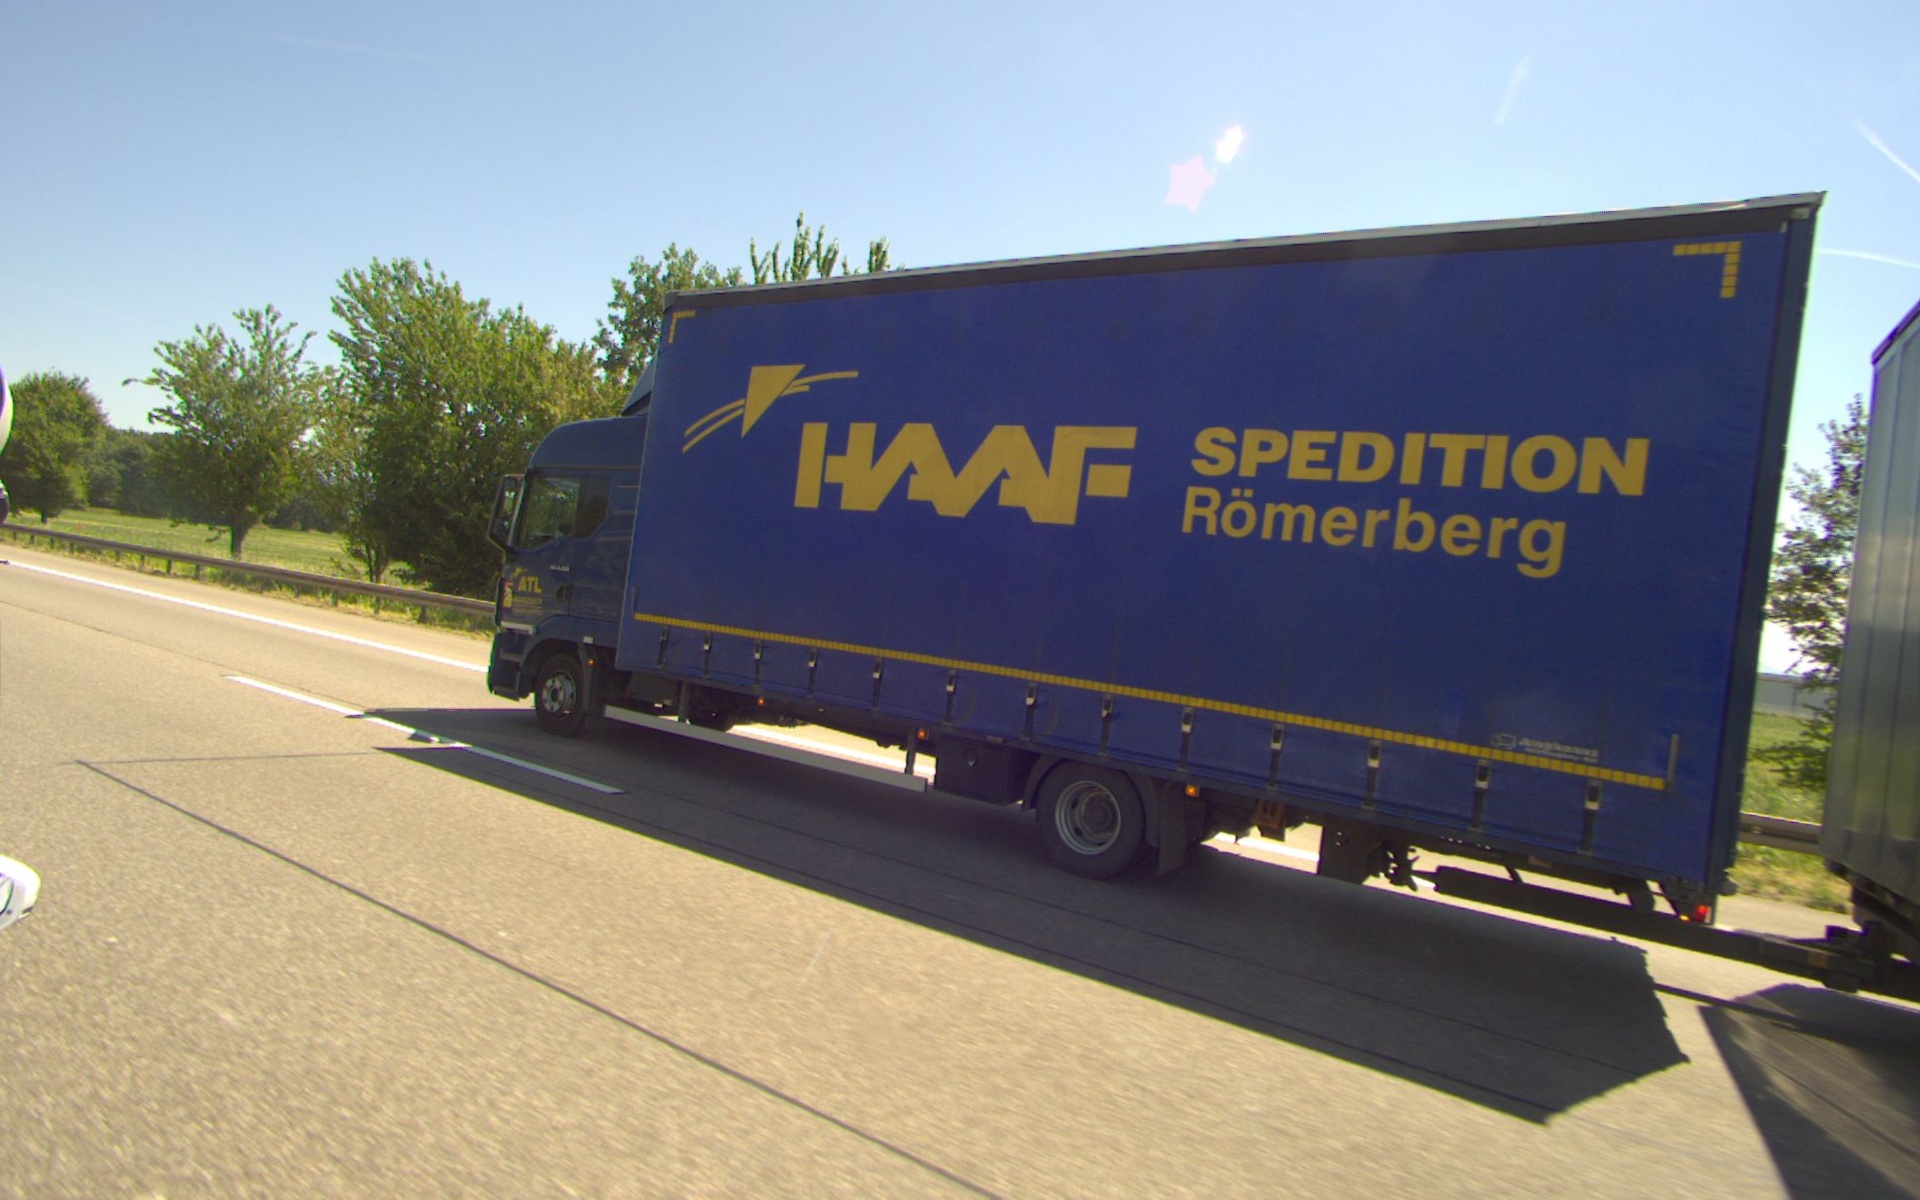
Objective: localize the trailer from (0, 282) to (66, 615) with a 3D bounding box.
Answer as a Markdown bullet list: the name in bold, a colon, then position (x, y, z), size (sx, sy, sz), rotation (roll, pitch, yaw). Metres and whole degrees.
- **trailer**: position (-18.071, -2.615, 15.479), size (12.148, 4.256, 2.794), rotation (7, 0, 32)

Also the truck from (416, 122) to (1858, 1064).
- **truck**: position (-0.013, -0.423, 8.502), size (10.627, 4.256, 2.794), rotation (7, 0, 32)

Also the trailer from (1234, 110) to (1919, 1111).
- **trailer**: position (7.010, 0.365, 4.119), size (10.627, 4.256, 2.794), rotation (7, 0, 32)
